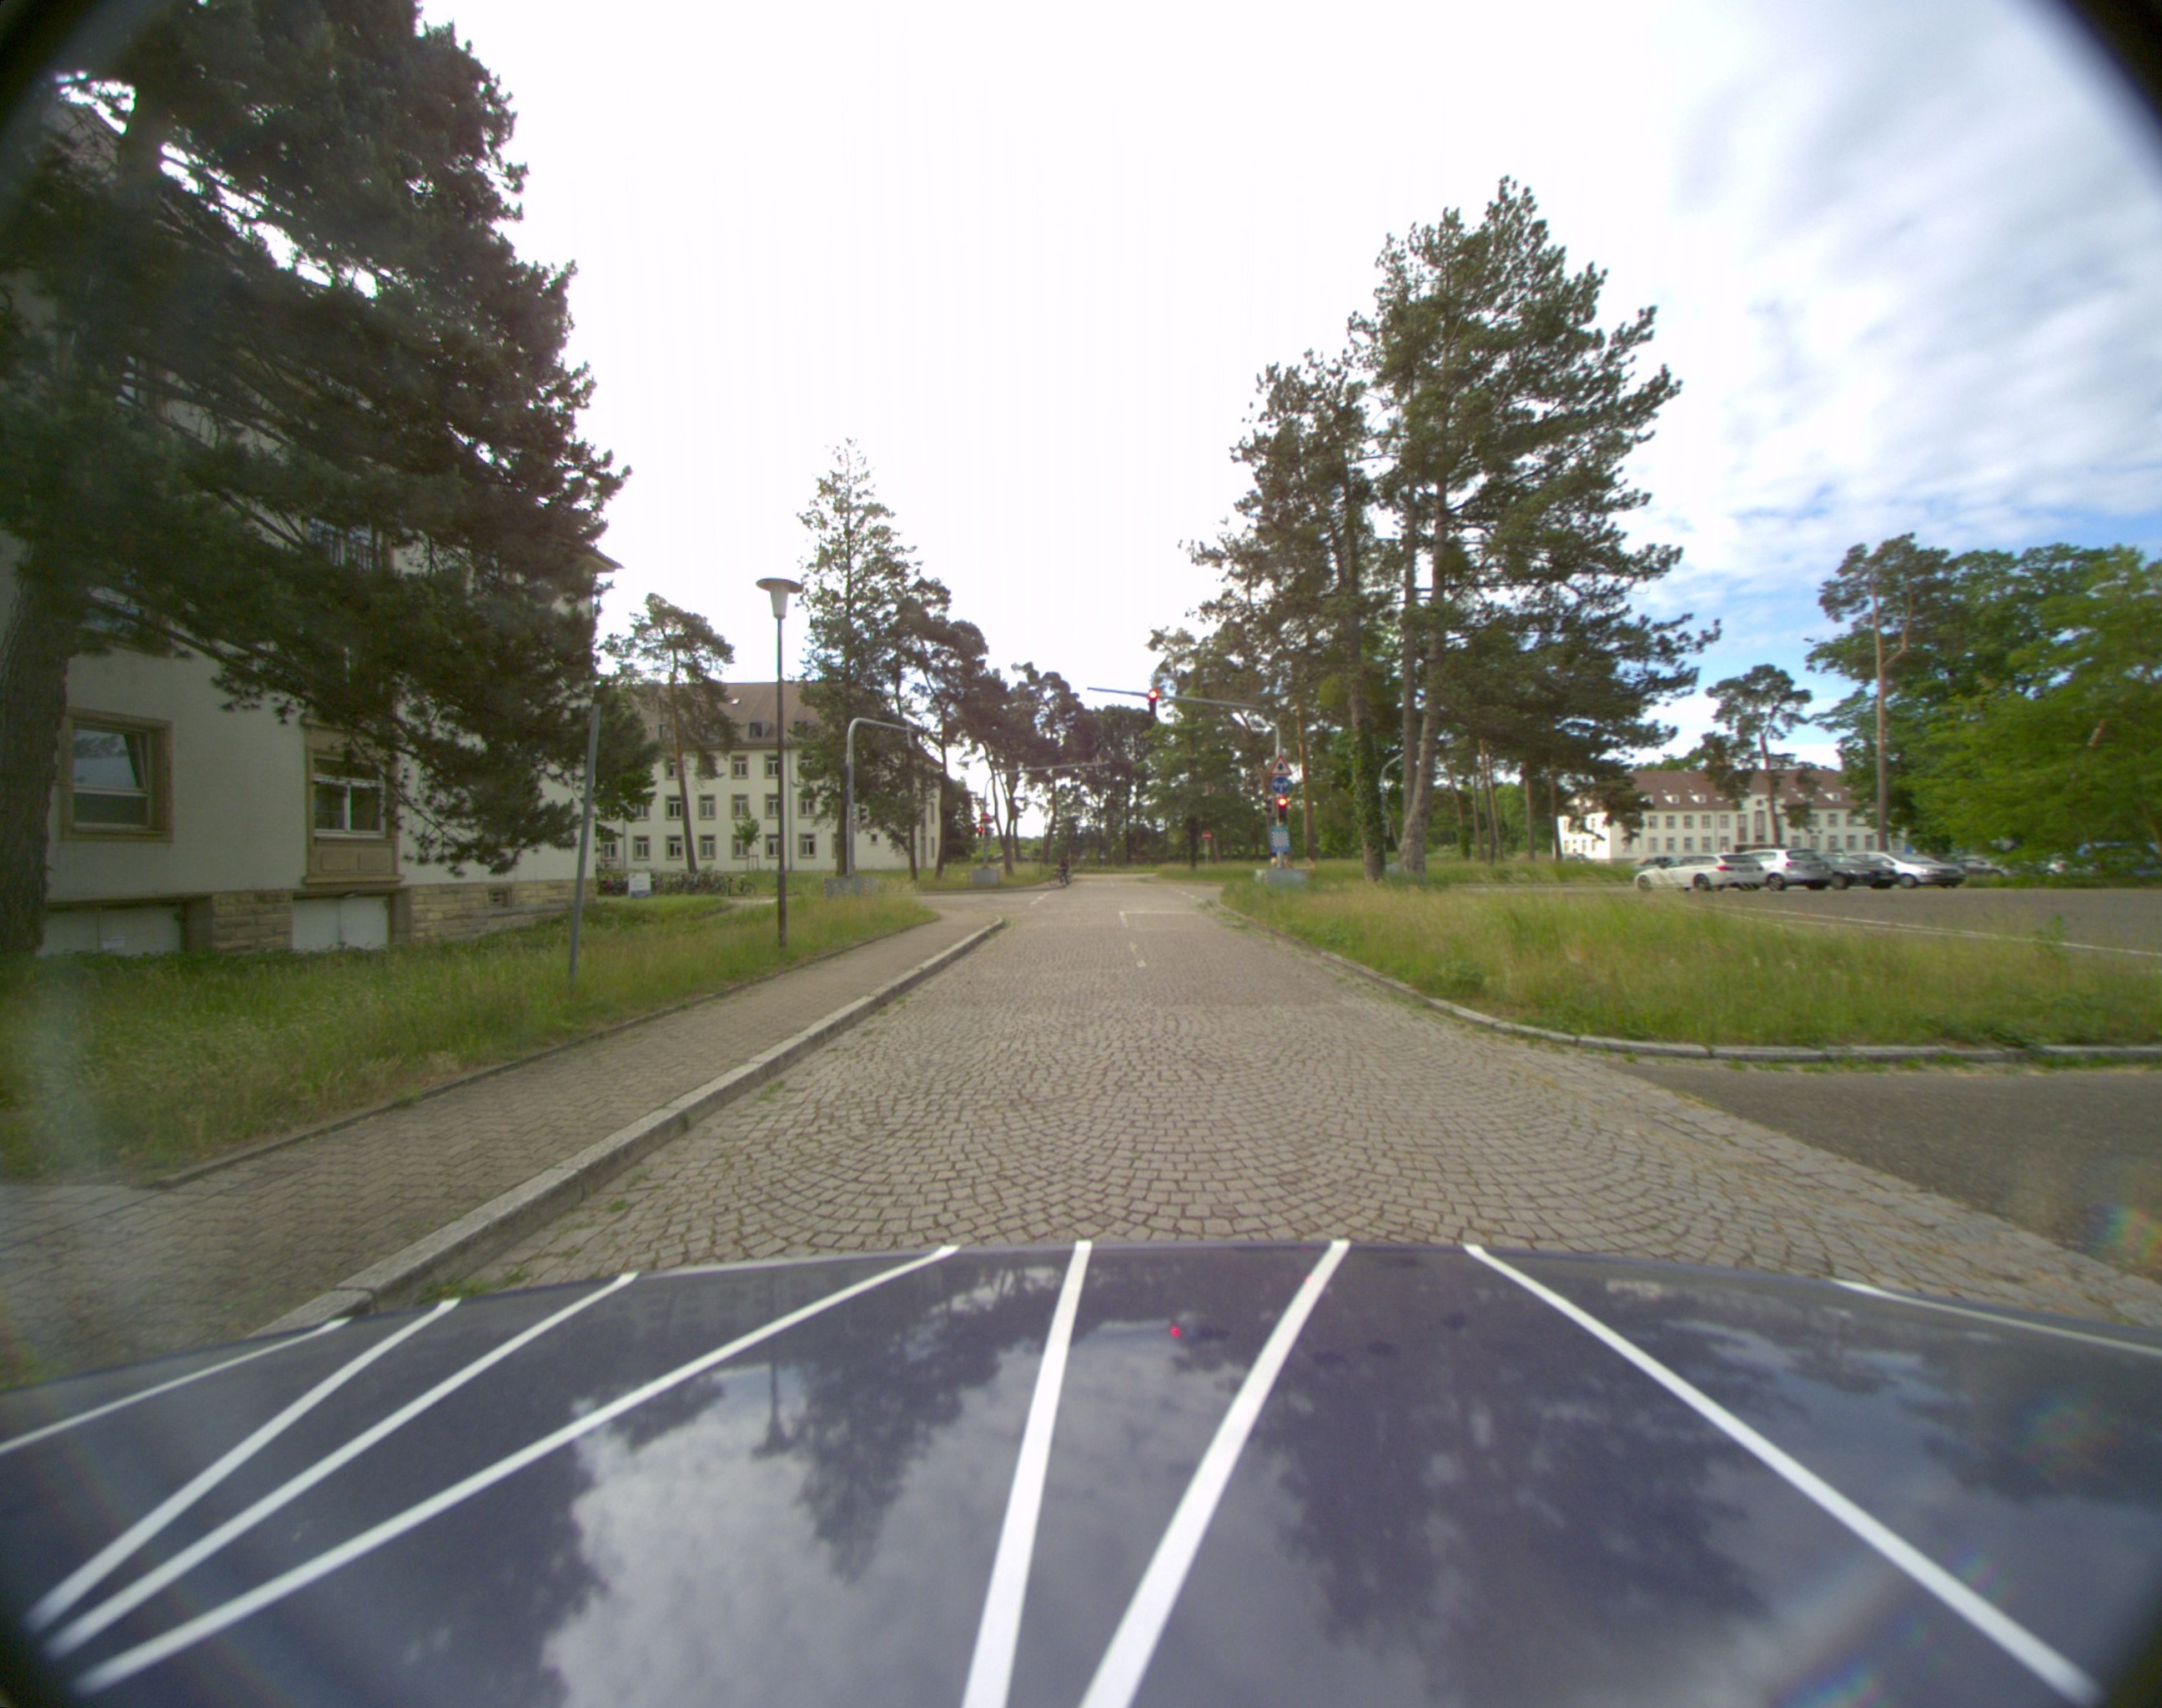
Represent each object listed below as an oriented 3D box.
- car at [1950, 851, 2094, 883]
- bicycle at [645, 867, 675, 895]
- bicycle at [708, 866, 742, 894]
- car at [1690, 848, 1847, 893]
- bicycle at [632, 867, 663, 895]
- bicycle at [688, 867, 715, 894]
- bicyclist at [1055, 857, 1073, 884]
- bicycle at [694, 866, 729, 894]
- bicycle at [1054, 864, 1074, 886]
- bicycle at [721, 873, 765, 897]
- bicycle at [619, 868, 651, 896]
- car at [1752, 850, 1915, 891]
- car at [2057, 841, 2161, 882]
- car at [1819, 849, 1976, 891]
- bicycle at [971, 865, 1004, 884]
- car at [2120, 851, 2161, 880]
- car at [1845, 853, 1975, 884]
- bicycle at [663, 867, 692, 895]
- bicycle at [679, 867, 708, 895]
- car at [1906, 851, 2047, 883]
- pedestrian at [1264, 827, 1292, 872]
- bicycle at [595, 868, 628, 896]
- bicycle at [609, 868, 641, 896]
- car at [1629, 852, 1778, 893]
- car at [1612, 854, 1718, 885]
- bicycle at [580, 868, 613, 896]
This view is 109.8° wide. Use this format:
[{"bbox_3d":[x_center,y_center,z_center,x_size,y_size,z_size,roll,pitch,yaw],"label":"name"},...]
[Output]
[{"bbox_3d":[49.505,0.708,40.156,1.840,1.564,4.586,-1,-2,-1],"label":"car"},{"bbox_3d":[-21.033,1.325,37.983,0.572,1.324,1.837,-1,0,-4],"label":"bicycle"},{"bbox_3d":[-17.852,1.295,38.125,0.572,1.324,1.839,-1,0,9],"label":"bicycle"},{"bbox_3d":[26.345,0.674,29.380,1.840,1.568,4.586,-1,-2,-1],"label":"car"},{"bbox_3d":[-21.634,1.347,37.966,0.572,1.324,1.837,-1,0,-4],"label":"bicycle"},{"bbox_3d":[-18.979,1.306,38.046,0.482,1.324,1.837,-1,0,-4],"label":"bicycle"},{"bbox_3d":[-1.048,0.983,46.647,0.963,1.625,0.918,-1,0,5],"label":"bicyclist"},{"bbox_3d":[-18.482,1.287,38.023,0.572,1.324,1.839,-1,0,9],"label":"bicycle"},{"bbox_3d":[-1.023,1.285,46.602,0.963,1.268,2.164,-1,0,5],"label":"bicycle"},{"bbox_3d":[-16.202,1.473,36.401,1.836,1.079,0.573,-1,2,5],"label":"bicycle"},{"bbox_3d":[-22.319,1.374,38.035,0.572,1.324,1.837,-1,0,-4],"label":"bicycle"},{"bbox_3d":[28.998,0.655,29.536,1.839,1.460,4.586,-1,-2,2],"label":"car"},{"bbox_3d":[54.835,0.418,39.462,1.839,2.084,4.983,-1,-2,1],"label":"car"},{"bbox_3d":[31.752,0.644,29.744,1.736,1.512,4.115,-1,-2,2],"label":"car"},{"bbox_3d":[-5.397,1.176,43.988,1.836,1.079,0.572,-1,2,0],"label":"bicycle"},{"bbox_3d":[57.492,0.569,39.245,1.749,1.512,4.289,-1,-2,-1],"label":"car"},{"bbox_3d":[43.746,0.795,40.277,1.840,1.512,4.586,-1,-2,-1],"label":"car"},{"bbox_3d":[-20.177,1.341,38.019,0.572,1.324,1.837,-1,0,-4],"label":"bicycle"},{"bbox_3d":[-19.411,1.322,38.067,0.572,1.324,1.837,-1,0,-4],"label":"bicycle"},{"bbox_3d":[46.475,0.742,39.615,1.840,1.549,4.586,-1,-2,-1],"label":"car"},{"bbox_3d":[6.671,-0.140,25.742,0.882,1.508,0.822,-1,0,16],"label":"pedestrian"},{"bbox_3d":[-23.523,1.404,38.114,0.572,1.324,1.837,-1,0,-4],"label":"bicycle"},{"bbox_3d":[-22.923,1.398,38.250,0.572,1.324,1.837,-1,0,-4],"label":"bicycle"},{"bbox_3d":[23.731,0.743,29.256,1.840,1.441,4.656,-1,-2,-1],"label":"car"},{"bbox_3d":[31.010,0.865,40.545,1.841,1.537,4.583,-1,-2,-6],"label":"car"},{"bbox_3d":[-24.235,1.379,38.058,0.572,1.324,1.837,-1,0,-4],"label":"bicycle"}]
